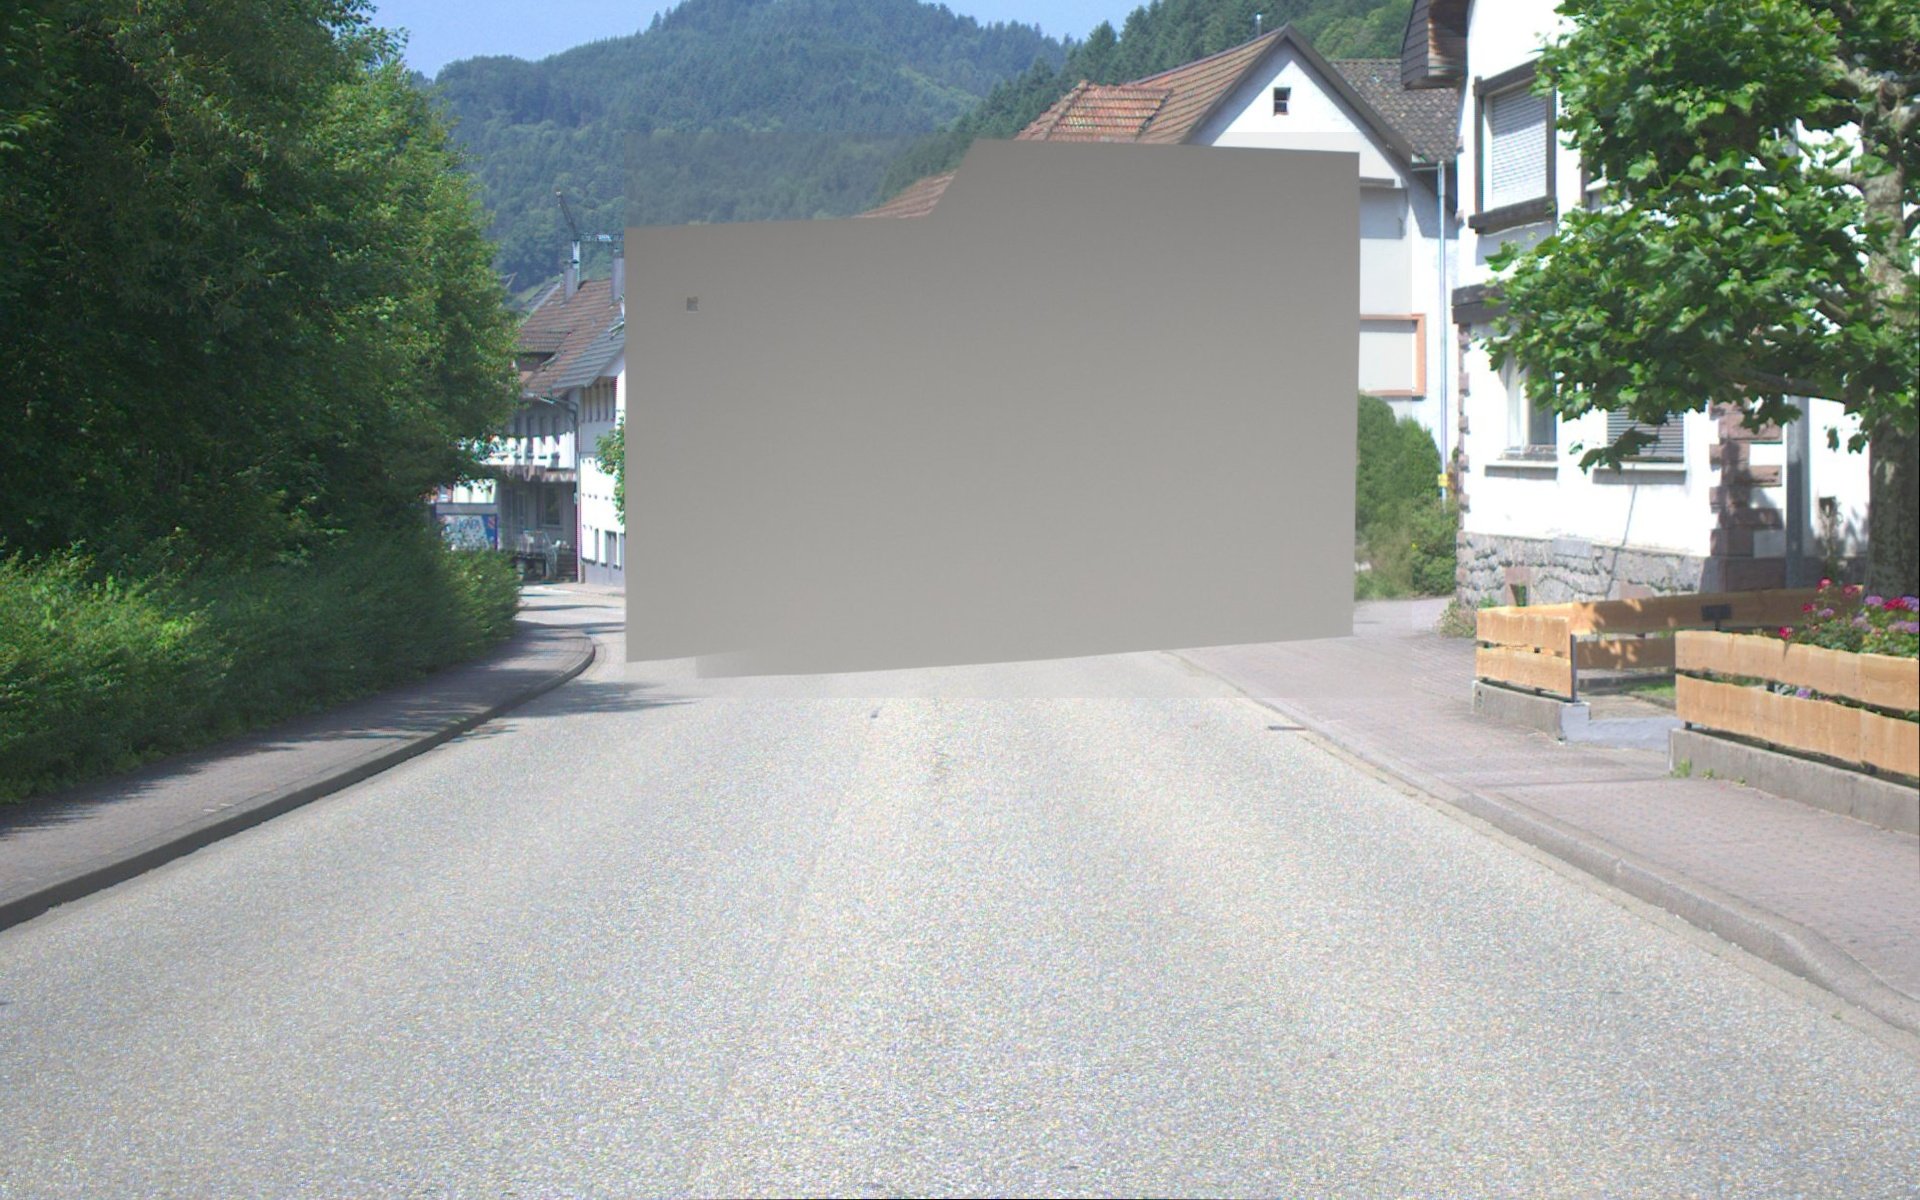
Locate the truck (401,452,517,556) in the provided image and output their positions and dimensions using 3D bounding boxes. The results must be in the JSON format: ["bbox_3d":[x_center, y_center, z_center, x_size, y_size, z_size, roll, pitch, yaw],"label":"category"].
[{"bbox_3d":[-21.036,-3.956,143.888,3.362,3.769,8.442,-5,0,-16],"label":"truck"}]

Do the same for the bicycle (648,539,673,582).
[{"bbox_3d":[-10.006,-1.325,114.912,0.425,1.391,2.277,-5,2,-12],"label":"bicycle"}]

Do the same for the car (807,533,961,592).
[{"bbox_3d":[-2.004,-0.988,90.768,3.771,1.422,1.607,-1,1,33],"label":"car"}]
